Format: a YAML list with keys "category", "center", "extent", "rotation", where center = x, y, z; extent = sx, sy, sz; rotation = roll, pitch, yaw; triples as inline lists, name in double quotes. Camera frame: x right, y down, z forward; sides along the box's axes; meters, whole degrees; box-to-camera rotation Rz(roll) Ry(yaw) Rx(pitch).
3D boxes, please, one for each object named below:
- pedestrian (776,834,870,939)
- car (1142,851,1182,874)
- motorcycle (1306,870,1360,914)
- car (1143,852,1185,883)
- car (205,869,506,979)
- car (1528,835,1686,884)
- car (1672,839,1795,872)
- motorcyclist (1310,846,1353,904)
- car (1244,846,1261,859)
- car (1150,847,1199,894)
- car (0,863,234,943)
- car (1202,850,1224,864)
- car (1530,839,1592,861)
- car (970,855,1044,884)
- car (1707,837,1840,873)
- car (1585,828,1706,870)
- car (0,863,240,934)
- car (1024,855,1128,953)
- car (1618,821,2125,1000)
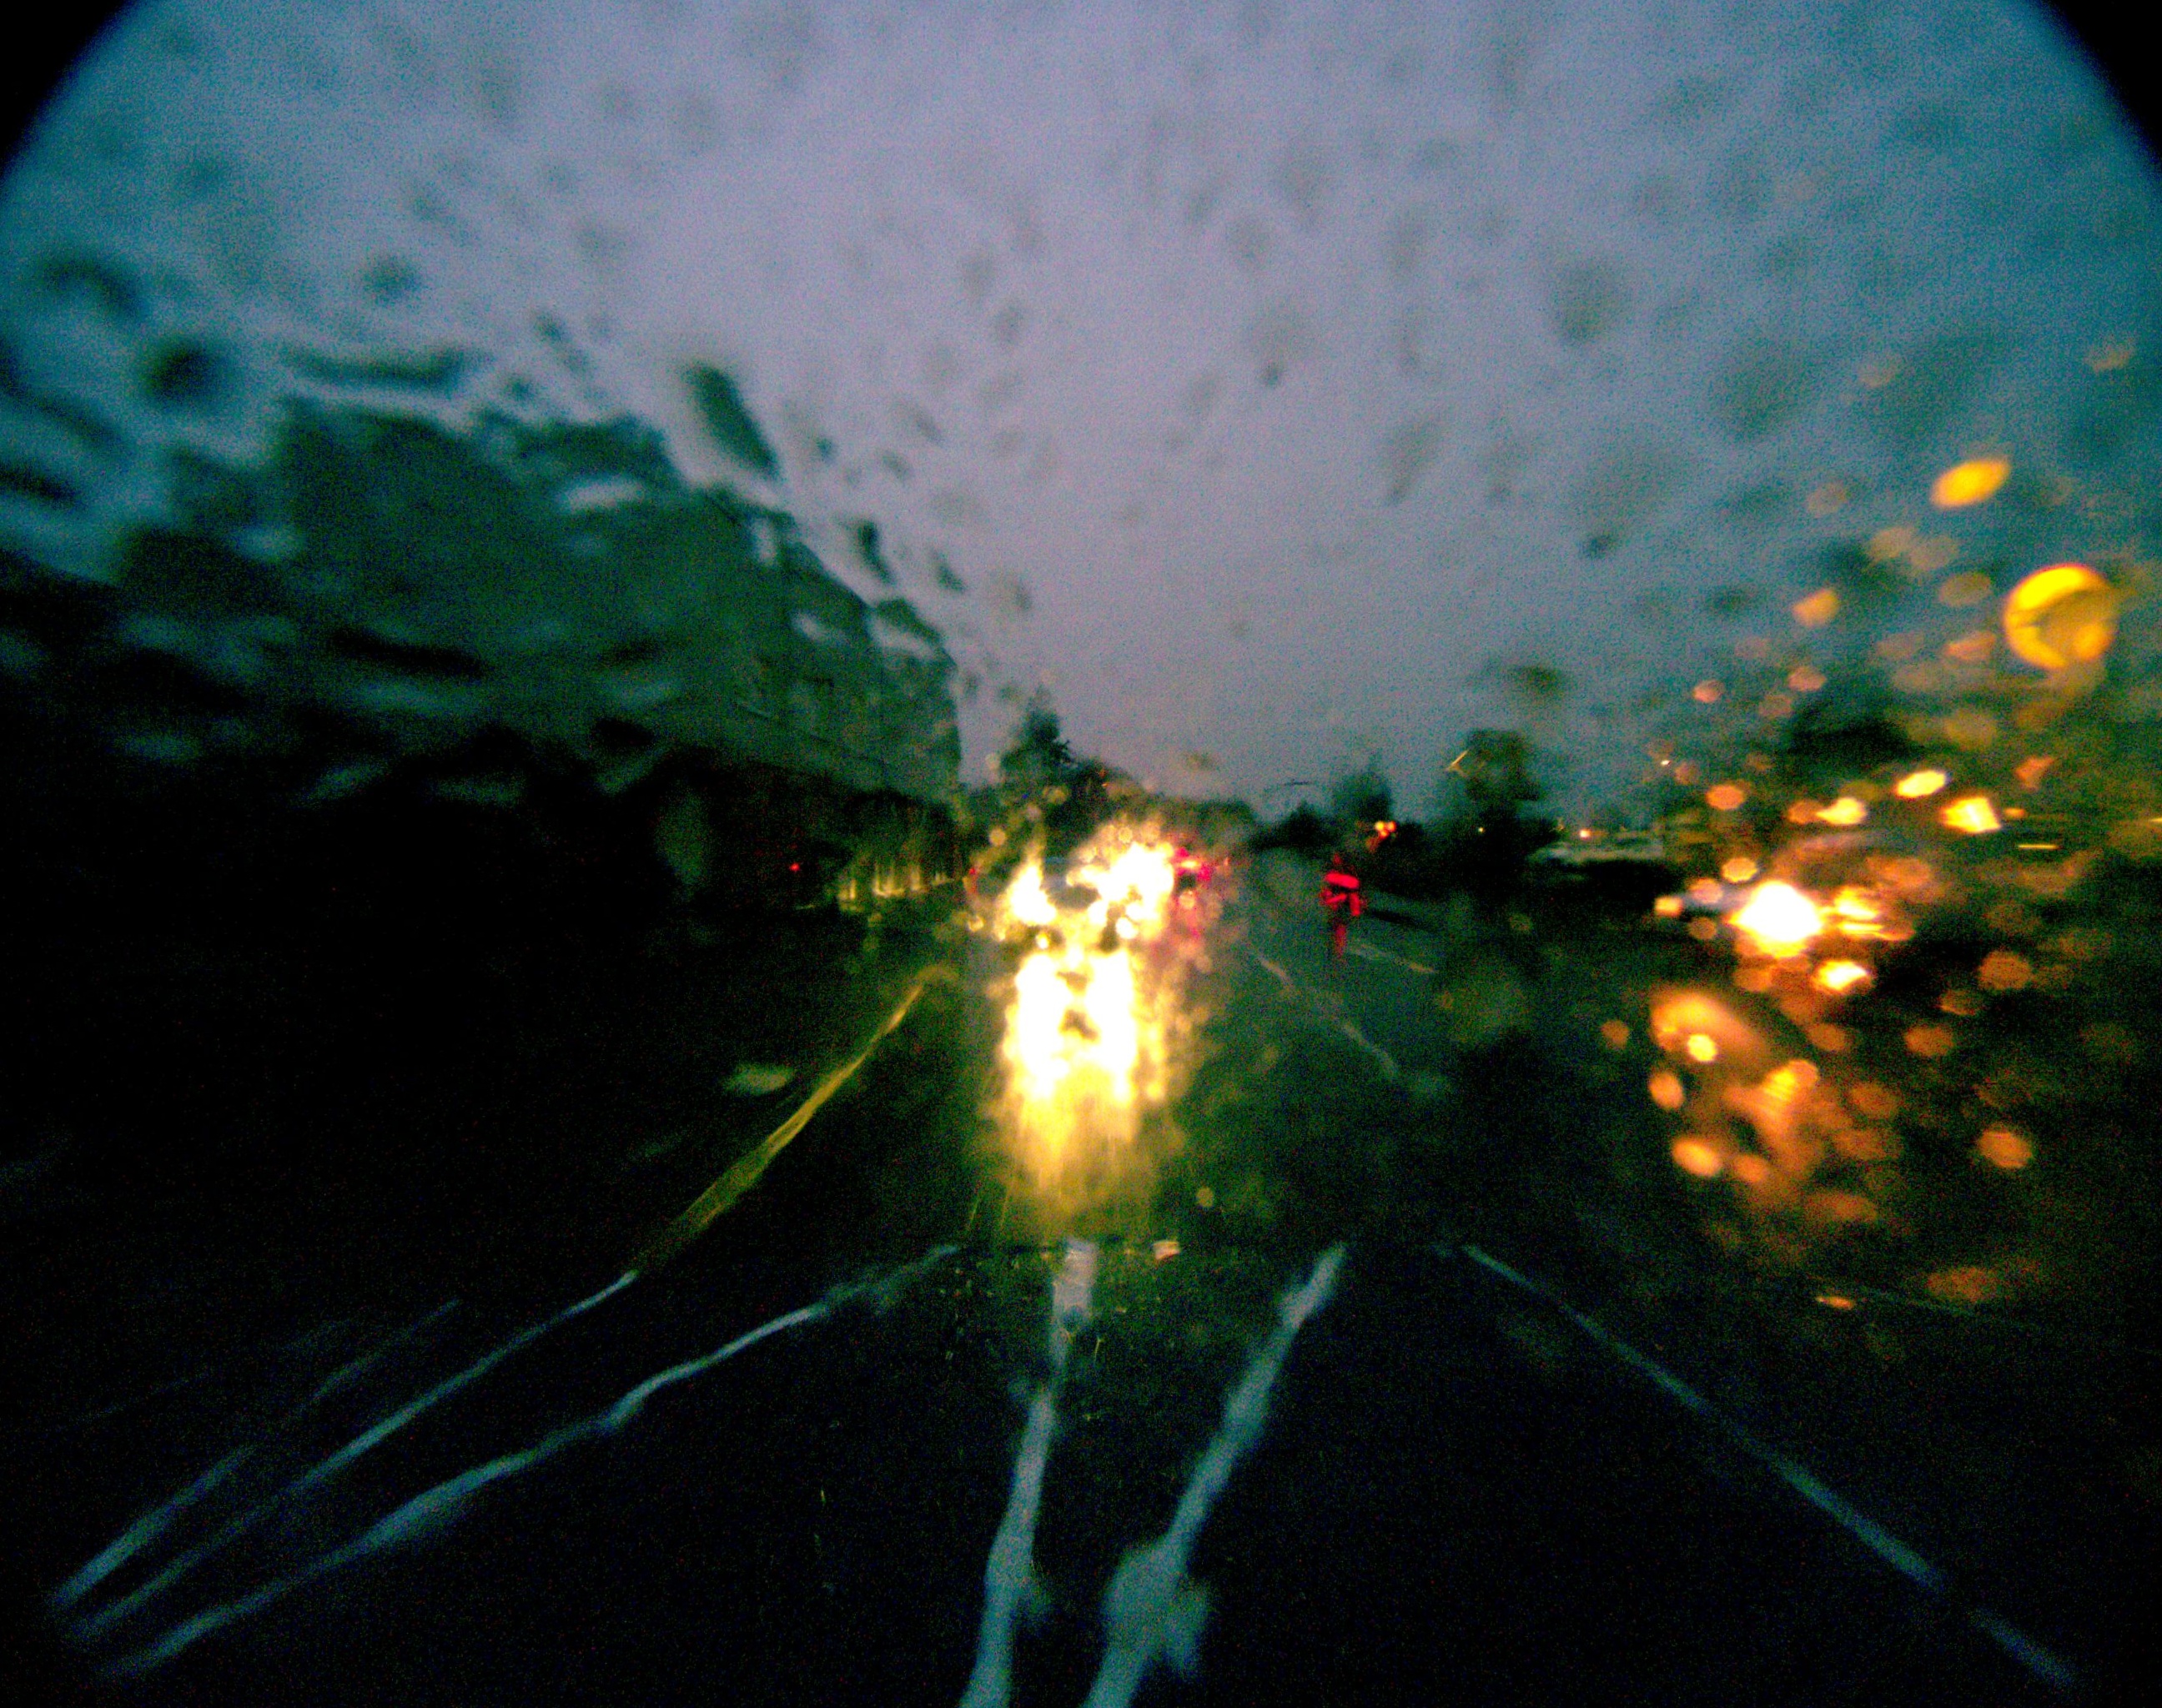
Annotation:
- category: "pedestrian"
  center: [-4.821, 0.576, 14.299]
  extent: [1.257, 1.855, 1.303]
  rotation: [1, 1, 4]
- category: "car"
  center: [5.679, 0.578, 52.778]
  extent: [1.996, 1.464, 4.005]
  rotation: [-2, 0, 18]
- category: "motorcycle"
  center: [6.642, 0.972, 20.112]
  extent: [0.867, 1.018, 2.110]
  rotation: [-2, 1, 5]
- category: "car"
  center: [4.490, 0.687, 40.740]
  extent: [1.665, 1.477, 4.004]
  rotation: [-1, 1, 14]
- category: "car"
  center: [-11.501, 0.991, 12.520]
  extent: [1.882, 1.251, 4.163]
  rotation: [-1, 2, -17]
- category: "car"
  center: [20.018, 0.206, 29.044]
  extent: [4.784, 1.702, 2.032]
  rotation: [-1, 0, -6]
- category: "car"
  center: [31.736, 0.085, 37.057]
  extent: [4.443, 1.554, 2.055]
  rotation: [0, -1, -5]
- category: "motorcyclist"
  center: [6.620, 0.532, 20.117]
  extent: [0.867, 1.477, 0.909]
  rotation: [-2, 1, 5]
- category: "car"
  center: [25.740, -0.257, 113.795]
  extent: [1.945, 1.795, 4.178]
  rotation: [-2, 0, 19]
- category: "car"
  center: [3.740, 0.606, 30.626]
  extent: [1.775, 1.713, 4.423]
  rotation: [-1, 0, 6]
- category: "car"
  center: [-20.494, 0.940, 15.144]
  extent: [4.723, 1.457, 1.871]
  rotation: [0, 1, -7]
- category: "car"
  center: [14.392, 0.327, 82.643]
  extent: [1.773, 1.422, 3.802]
  rotation: [-2, -1, 19]
- category: "car"
  center: [36.718, -0.328, 58.278]
  extent: [1.687, 1.528, 4.784]
  rotation: [-1, 1, -2]
- category: "car"
  center: [-4.450, 0.955, 46.140]
  extent: [4.181, 1.432, 1.798]
  rotation: [-4, -1, 0]
- category: "car"
  center: [31.512, 0.065, 34.656]
  extent: [4.443, 1.554, 2.055]
  rotation: [0, -1, -5]
- category: "car"
  center: [31.030, -0.246, 41.837]
  extent: [5.201, 2.269, 2.218]
  rotation: [0, 0, -5]
- category: "car"
  center: [-22.930, 1.006, 18.041]
  extent: [3.753, 1.559, 1.713]
  rotation: [0, 1, -7]
- category: "car"
  center: [-0.085, 0.875, 15.461]
  extent: [1.776, 1.632, 4.421]
  rotation: [-1, 0, 0]
- category: "car"
  center: [9.405, 0.611, 9.331]
  extent: [4.237, 1.689, 1.899]
  rotation: [-4, 1, -1]
